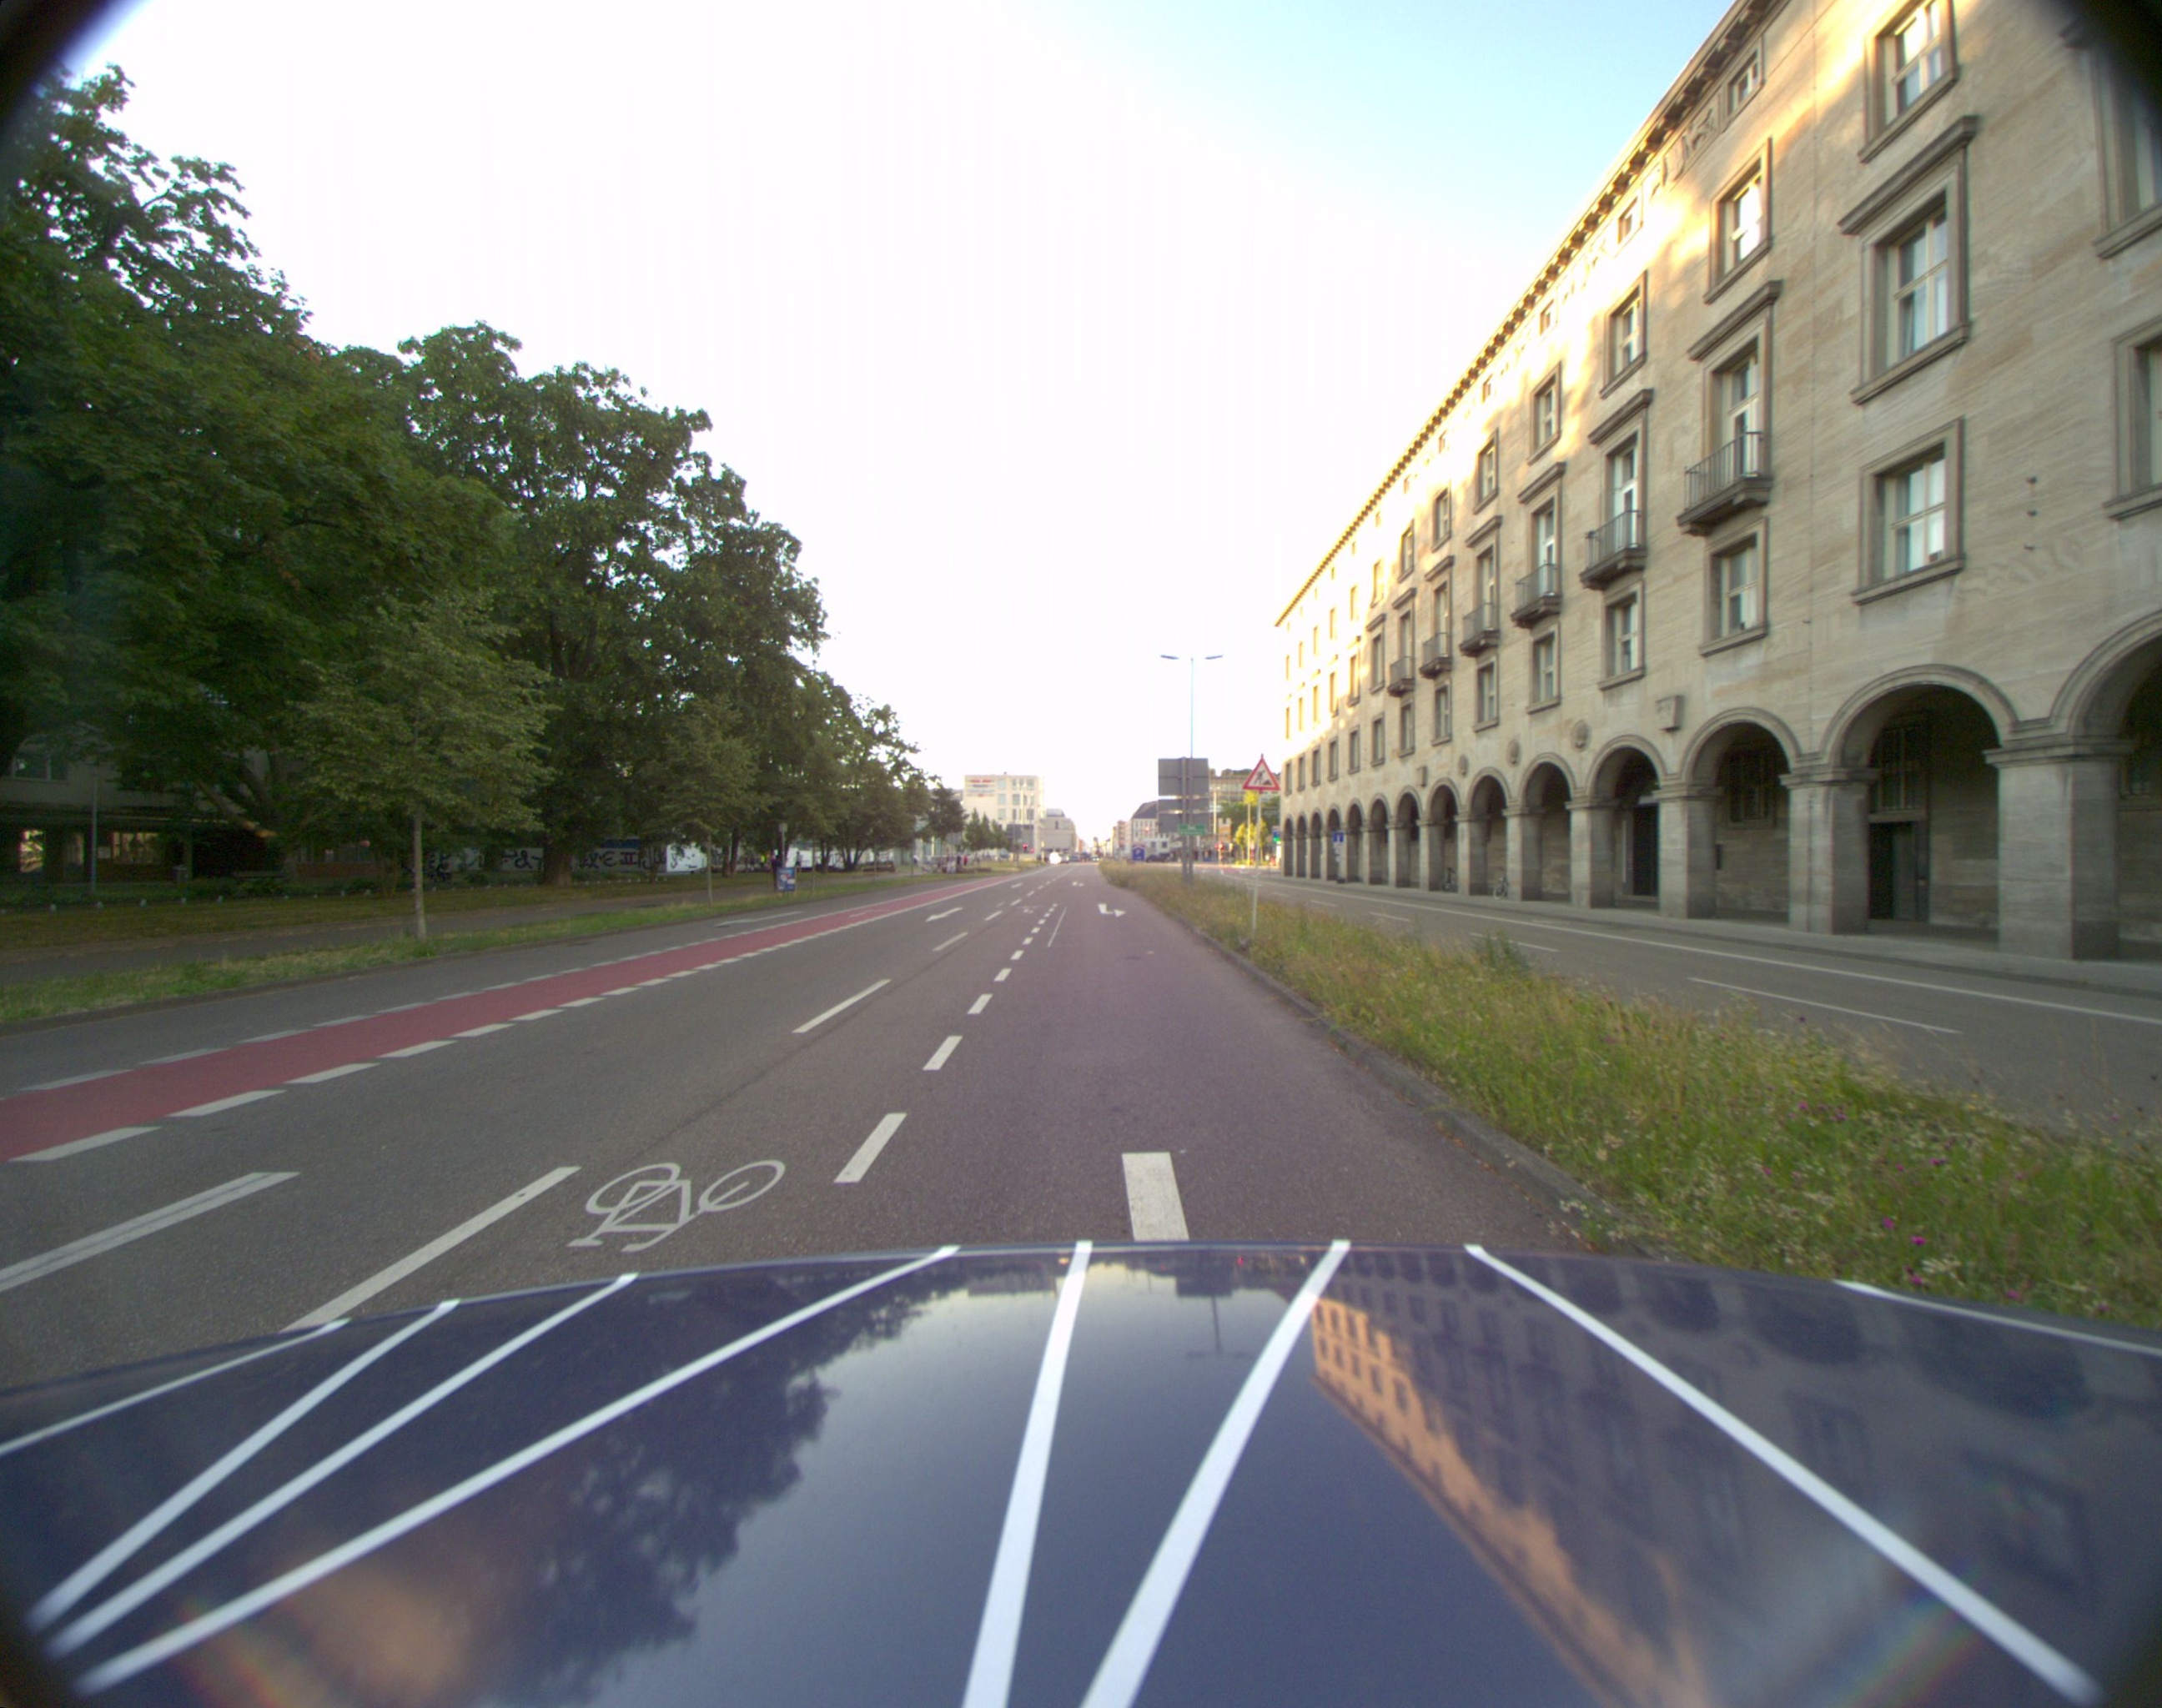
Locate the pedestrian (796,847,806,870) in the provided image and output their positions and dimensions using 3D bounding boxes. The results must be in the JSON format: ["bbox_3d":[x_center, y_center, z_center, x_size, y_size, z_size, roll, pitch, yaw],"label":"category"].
[{"bbox_3d":[-19.266,0.318,52.296,0.500,1.592,0.522,0,1,1],"label":"pedestrian"}]

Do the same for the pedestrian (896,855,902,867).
[{"bbox_3d":[-20.169,0.752,84.181,0.519,1.347,0.773,0,1,1],"label":"pedestrian"}]

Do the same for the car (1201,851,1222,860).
[{"bbox_3d":[28.470,0.373,165.928,4.437,2.002,2.000,0,0,3],"label":"car"}]

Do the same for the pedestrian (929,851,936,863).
[{"bbox_3d":[-17.415,0.326,89.146,0.662,1.347,0.559,0,1,1],"label":"pedestrian"}]

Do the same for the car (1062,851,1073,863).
[{"bbox_3d":[-2.217,0.437,124.318,1.767,1.877,4.499,0,0,0],"label":"car"}]

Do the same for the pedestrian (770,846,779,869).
[{"bbox_3d":[-21.012,0.238,52.101,0.500,1.592,0.365,0,1,1],"label":"pedestrian"}]

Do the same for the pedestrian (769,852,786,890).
[{"bbox_3d":[-14.058,0.780,35.223,0.558,1.729,0.555,0,1,1],"label":"pedestrian"}]

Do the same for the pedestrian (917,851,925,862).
[{"bbox_3d":[-18.888,0.277,89.633,0.728,1.347,0.614,0,1,1],"label":"pedestrian"}]

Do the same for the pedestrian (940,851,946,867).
[{"bbox_3d":[-14.577,0.528,80.428,0.519,1.720,0.719,0,1,1],"label":"pedestrian"}]

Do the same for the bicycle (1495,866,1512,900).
[{"bbox_3d":[15.519,1.025,27.885,0.513,1.115,2.427,0,1,30],"label":"bicycle"}]

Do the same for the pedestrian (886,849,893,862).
[{"bbox_3d":[-21.177,0.168,84.019,0.519,1.347,0.773,0,1,1],"label":"pedestrian"}]

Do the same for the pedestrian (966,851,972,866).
[{"bbox_3d":[-13.381,0.530,90.852,0.638,1.747,0.506,0,1,1],"label":"pedestrian"}]

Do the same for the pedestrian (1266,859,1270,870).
[{"bbox_3d":[27.075,1.494,109.819,0.526,1.532,0.390,0,1,1],"label":"pedestrian"}]

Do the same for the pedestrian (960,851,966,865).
[{"bbox_3d":[-14.174,0.460,91.201,0.638,1.747,0.506,0,1,1],"label":"pedestrian"}]

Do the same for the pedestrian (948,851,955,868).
[{"bbox_3d":[-13.234,0.548,77.746,0.509,1.720,0.719,0,1,1],"label":"pedestrian"}]

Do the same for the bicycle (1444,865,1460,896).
[{"bbox_3d":[15.063,1.034,30.868,0.513,1.172,2.427,0,0,25],"label":"bicycle"}]
